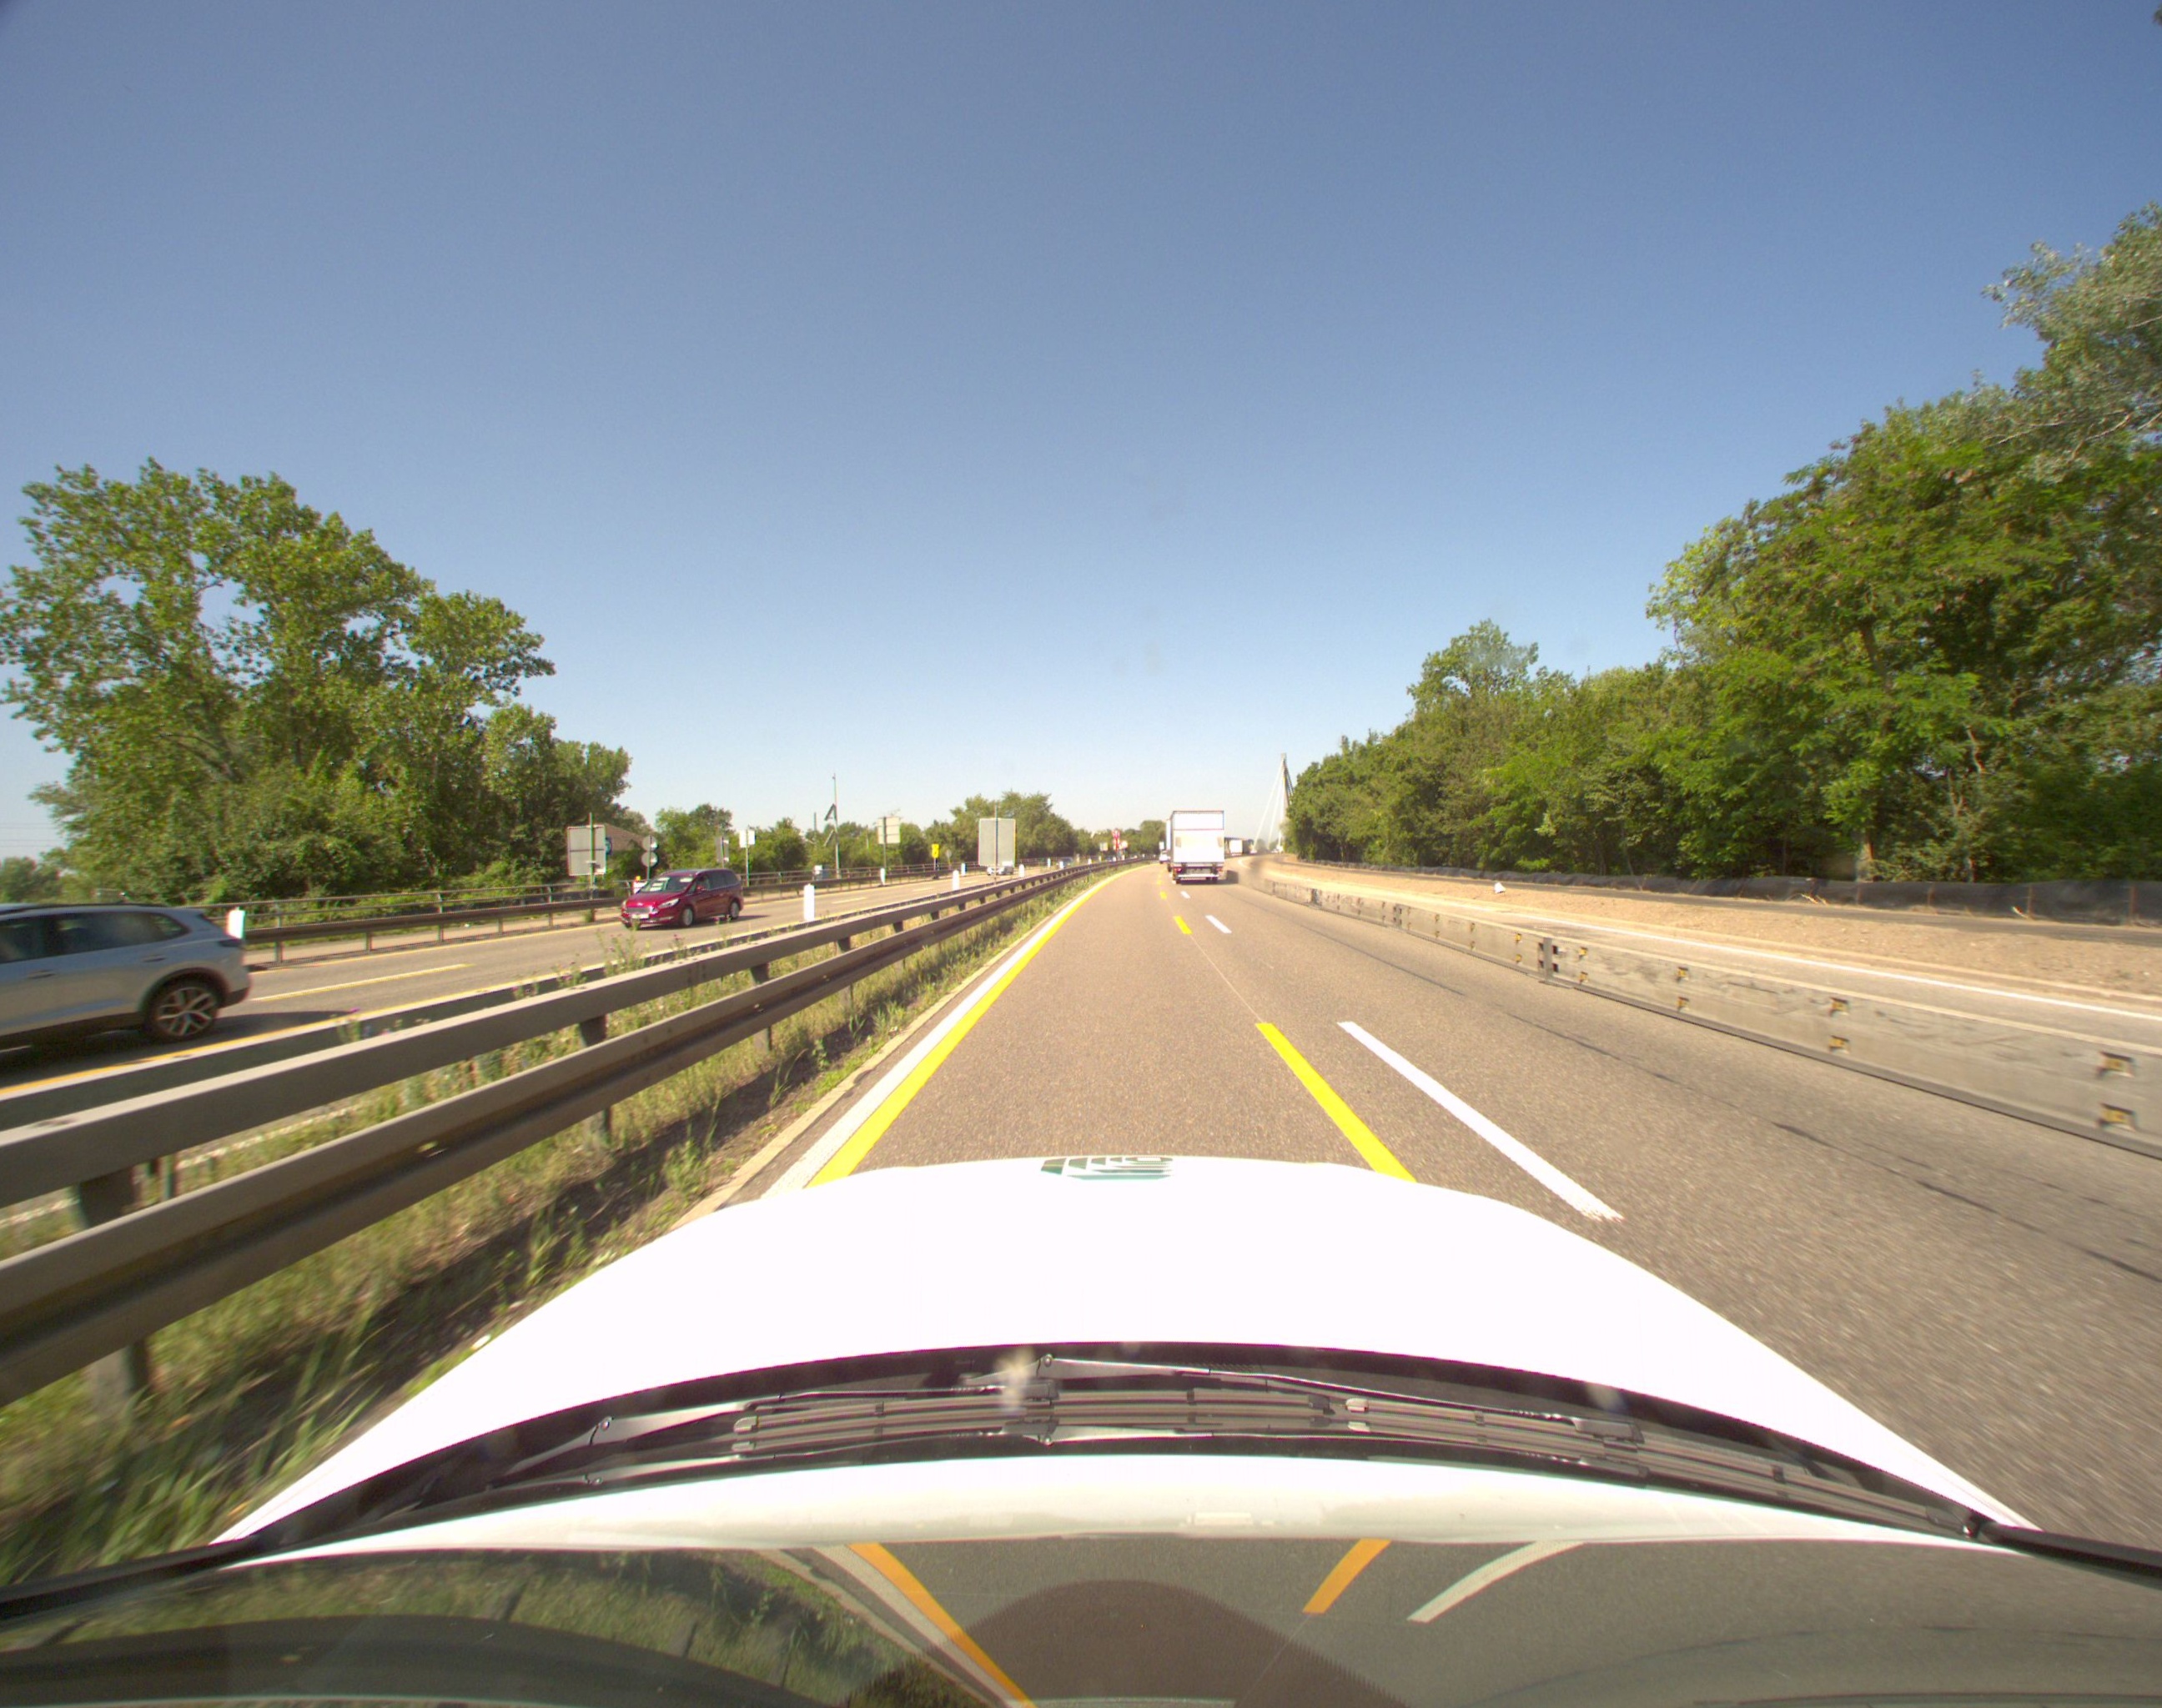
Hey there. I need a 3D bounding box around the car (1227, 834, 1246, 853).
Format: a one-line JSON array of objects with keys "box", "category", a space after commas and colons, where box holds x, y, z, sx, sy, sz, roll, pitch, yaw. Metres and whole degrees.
[{"box": [37.678, -2.486, 196.932, 4.179, 4.251, 10.698, -4, 0, 12], "category": "car"}]

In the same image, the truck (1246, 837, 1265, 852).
[{"box": [53.025, -2.886, 247.536, 4.186, 4.266, 10.290, -4, 0, 18], "category": "truck"}]

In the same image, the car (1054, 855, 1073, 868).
[{"box": [-2.061, 0.866, 97.217, 1.729, 1.498, 4.006, -2, 0, 6], "category": "car"}]

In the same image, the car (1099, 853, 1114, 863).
[{"box": [4.235, 0.619, 133.069, 1.982, 1.552, 4.009, -2, 0, 7], "category": "car"}]

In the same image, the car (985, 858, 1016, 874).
[{"box": [-7.843, 1.148, 79.913, 1.874, 1.420, 4.869, -2, 0, 7], "category": "car"}]

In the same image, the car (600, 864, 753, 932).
[{"box": [-12.485, 1.287, 25.618, 1.900, 1.734, 5.026, -3, 0, 4], "category": "car"}]

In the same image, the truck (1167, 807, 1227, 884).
[{"box": [5.613, -0.406, 40.105, 2.621, 3.427, 7.246, 0, 0, 6], "category": "truck"}]

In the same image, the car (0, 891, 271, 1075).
[{"box": [-11.441, 1.354, 8.211, 1.900, 1.651, 4.382, -3, 0, 4], "category": "car"}]

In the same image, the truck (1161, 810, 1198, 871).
[{"box": [7.526, -0.978, 63.157, 2.621, 4.468, 7.243, 0, 0, 5], "category": "truck"}]
